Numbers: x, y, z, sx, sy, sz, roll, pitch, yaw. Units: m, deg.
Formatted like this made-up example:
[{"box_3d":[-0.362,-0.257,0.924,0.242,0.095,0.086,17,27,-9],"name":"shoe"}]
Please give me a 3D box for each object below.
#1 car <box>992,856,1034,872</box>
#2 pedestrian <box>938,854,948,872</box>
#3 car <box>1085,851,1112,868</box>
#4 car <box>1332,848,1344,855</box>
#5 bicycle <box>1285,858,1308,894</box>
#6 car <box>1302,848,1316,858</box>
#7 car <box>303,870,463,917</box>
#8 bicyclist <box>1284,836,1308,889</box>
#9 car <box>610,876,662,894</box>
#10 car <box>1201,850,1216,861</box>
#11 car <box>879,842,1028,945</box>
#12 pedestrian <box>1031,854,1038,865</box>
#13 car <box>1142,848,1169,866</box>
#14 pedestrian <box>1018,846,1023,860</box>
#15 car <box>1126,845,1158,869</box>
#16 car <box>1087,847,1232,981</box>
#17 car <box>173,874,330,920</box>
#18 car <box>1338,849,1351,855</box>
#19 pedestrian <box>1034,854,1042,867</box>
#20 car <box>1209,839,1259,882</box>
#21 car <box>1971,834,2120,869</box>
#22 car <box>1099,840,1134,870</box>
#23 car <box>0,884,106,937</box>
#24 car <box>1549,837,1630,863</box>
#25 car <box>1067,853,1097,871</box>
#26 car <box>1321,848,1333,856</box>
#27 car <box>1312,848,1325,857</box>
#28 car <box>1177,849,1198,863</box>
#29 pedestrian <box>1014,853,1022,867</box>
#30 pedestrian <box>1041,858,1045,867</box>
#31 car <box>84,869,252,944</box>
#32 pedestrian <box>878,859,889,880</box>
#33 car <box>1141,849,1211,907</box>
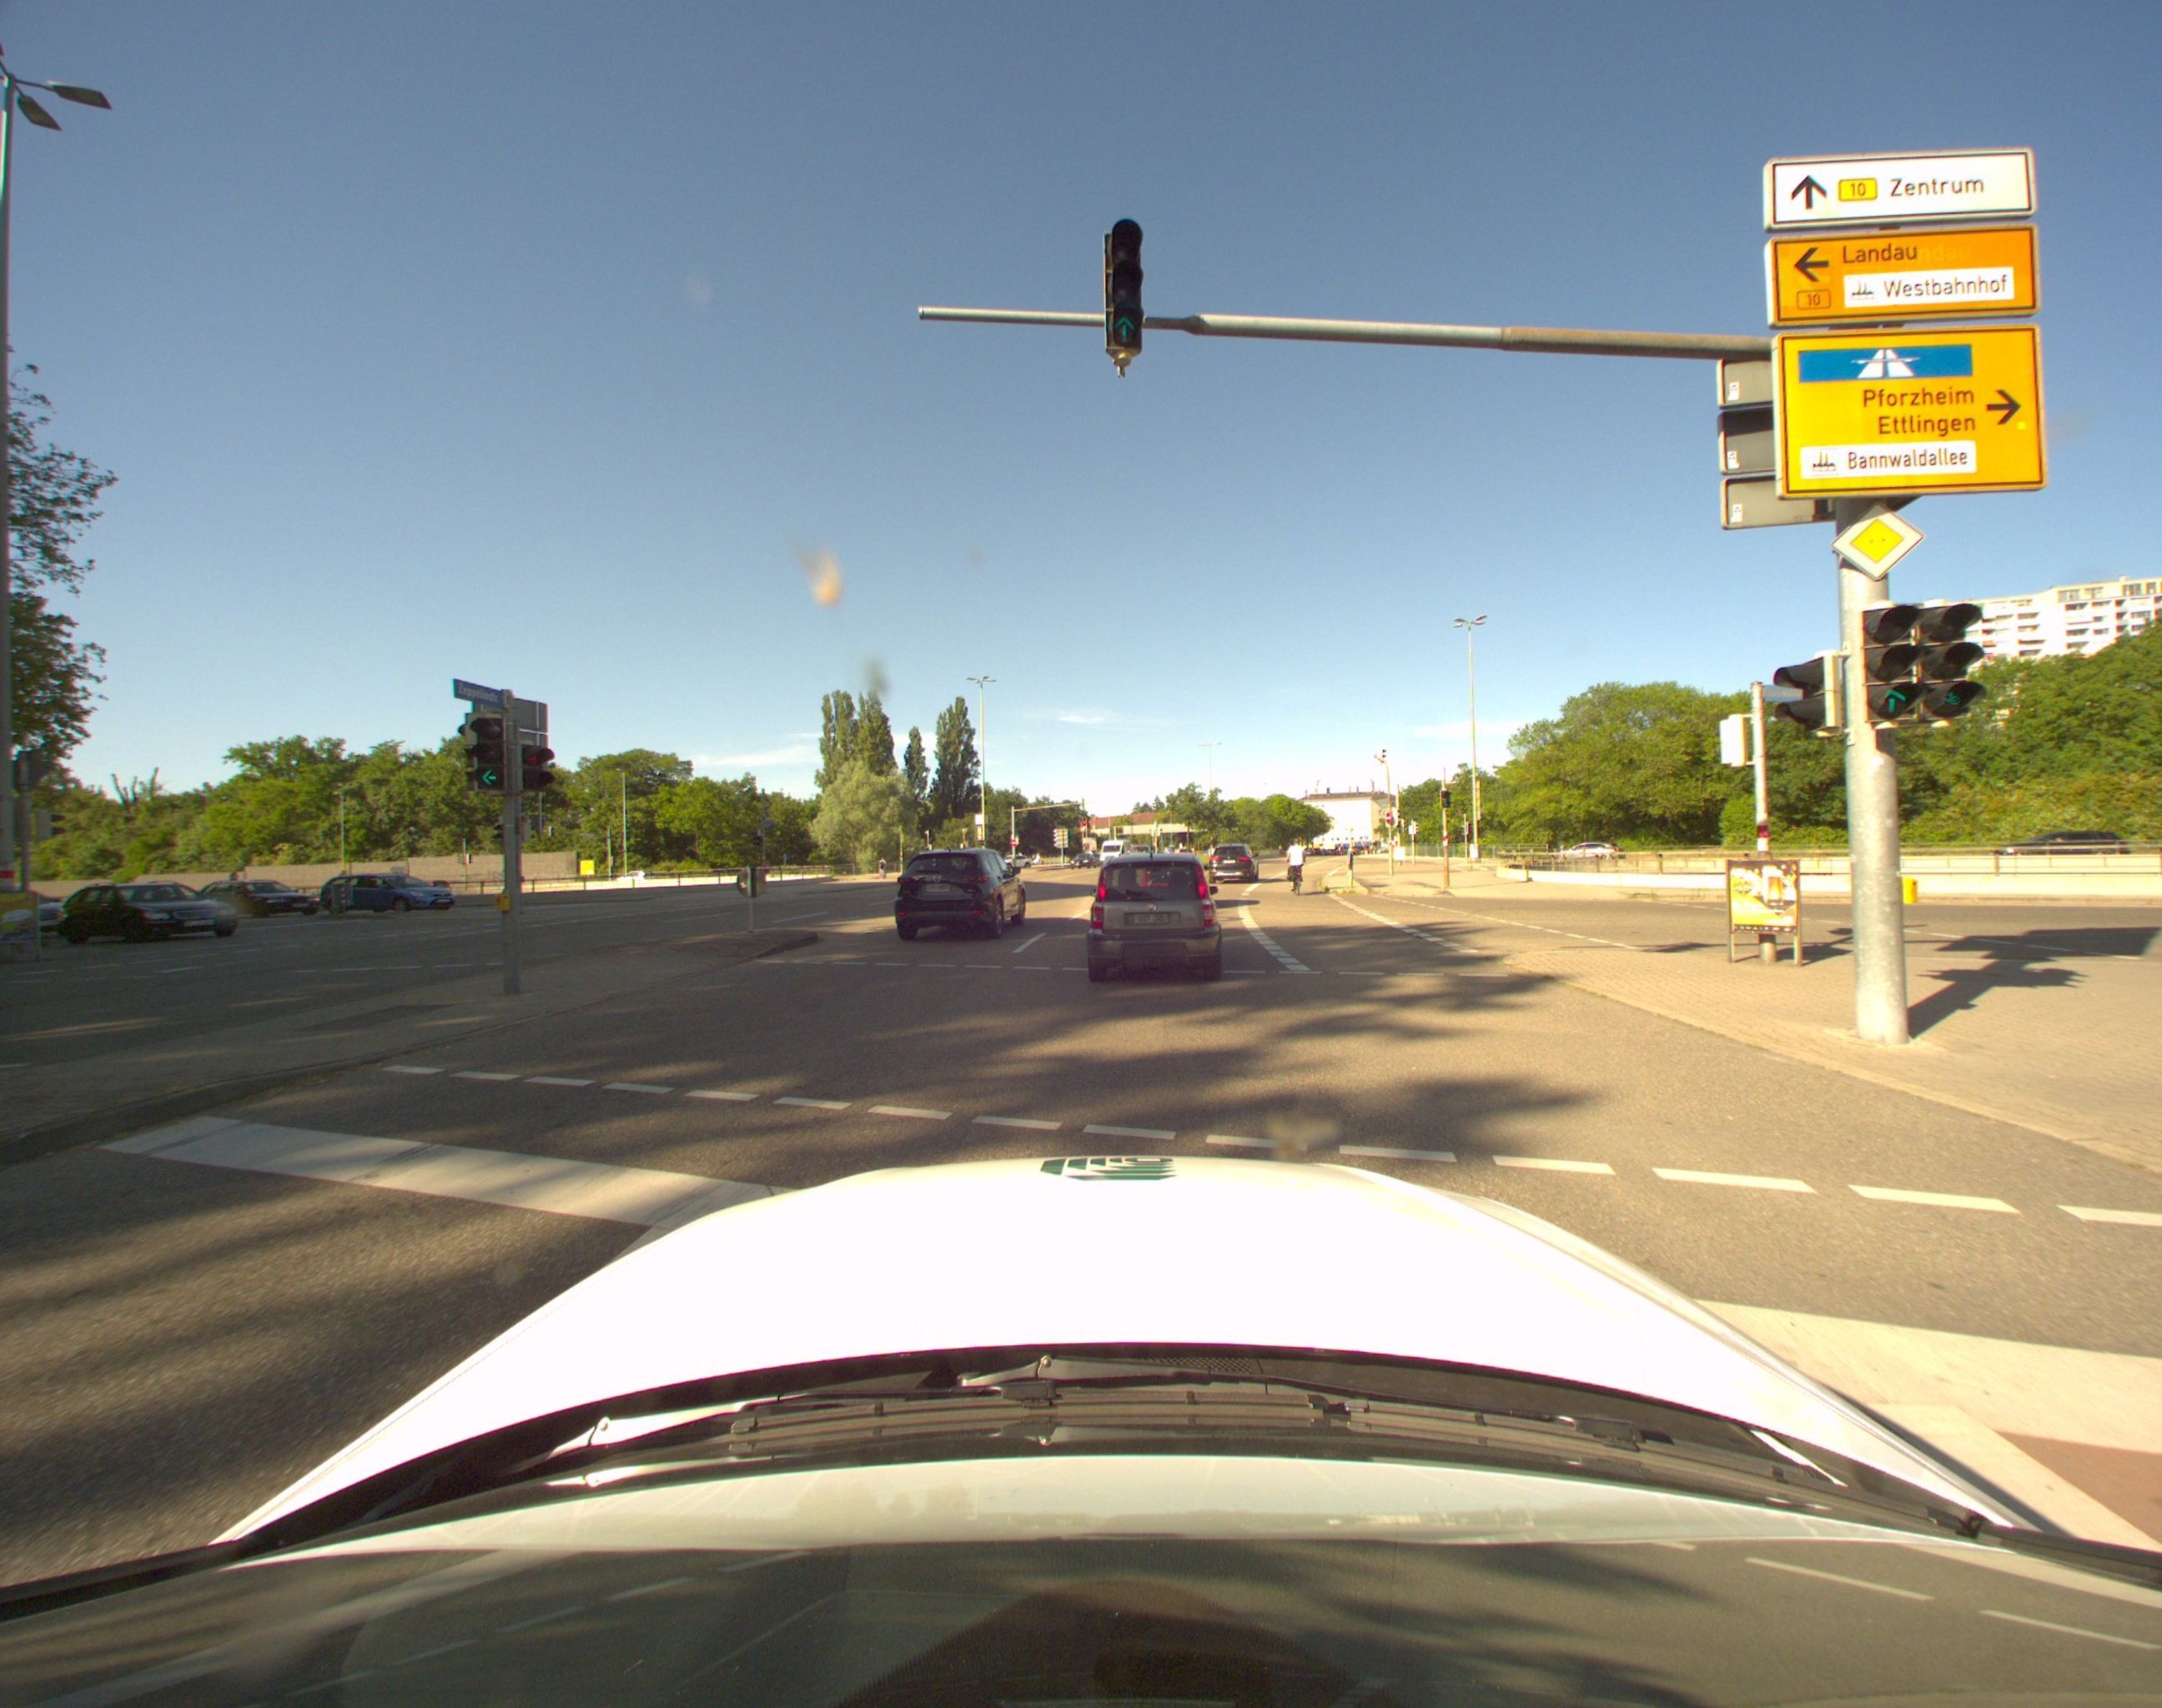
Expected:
[{"box_3d":[-7.085,1.011,84.803,1.762,1.535,4.355,0,1,42],"name":"car"},{"box_3d":[-12.164,0.831,71.738,0.712,1.547,0.723,-2,-1,-23],"name":"pedestrian"},{"box_3d":[1.815,0.555,82.259,1.798,1.541,4.633,-3,0,12],"name":"car"},{"box_3d":[63.499,-0.616,201.270,1.926,1.528,4.123,-2,0,30],"name":"car"},{"box_3d":[6.981,0.699,26.444,0.686,1.102,1.833,-1,0,14],"name":"bicycle"},{"box_3d":[38.175,-0.189,136.257,1.928,1.528,4.119,-2,0,21],"name":"car"},{"box_3d":[-25.900,1.449,30.299,4.420,1.540,1.955,-2,0,6],"name":"car"},{"box_3d":[6.980,0.273,26.440,0.719,1.659,1.117,-1,0,14],"name":"bicyclist"},{"box_3d":[-41.973,2.941,76.787,3.957,1.508,2.008,-2,0,15],"name":"car"},{"box_3d":[20.585,0.192,131.111,1.922,1.622,4.524,-2,0,15],"name":"car"},{"box_3d":[-2.315,0.680,15.936,1.865,1.709,4.202,-2,0,5],"name":"car"},{"box_3d":[-6.128,0.735,107.394,0.664,1.503,0.784,-1,-2,33],"name":"pedestrian"},{"box_3d":[7.082,0.272,77.081,1.923,1.622,4.522,-2,0,14],"name":"car"},{"box_3d":[-7.465,-0.180,100.112,0.494,1.702,0.502,-1,-2,18],"name":"pedestrian"},{"box_3d":[5.347,0.243,71.131,1.923,2.008,4.950,-2,0,14],"name":"car"},{"box_3d":[1.070,0.682,11.136,1.609,1.515,3.825,-1,0,5],"name":"car"},{"box_3d":[-31.625,1.620,31.097,4.417,1.540,1.957,-2,0,9],"name":"car"},{"box_3d":[69.708,-0.637,215.437,1.926,1.528,4.124,-2,0,35],"name":"car"},{"box_3d":[-5.558,0.808,105.303,0.714,1.641,0.675,-1,-2,18],"name":"pedestrian"},{"box_3d":[6.997,0.266,36.971,1.931,1.840,4.169,0,0,15],"name":"car"},{"box_3d":[49.876,-0.118,42.264,4.618,1.616,1.873,-2,0,30],"name":"car"},{"box_3d":[3.294,0.088,74.325,1.923,2.576,6.111,-2,0,14],"name":"car"},{"box_3d":[-30.656,1.604,23.355,4.458,1.358,1.889,-2,0,18],"name":"car"},{"box_3d":[33.109,-0.273,53.096,4.191,1.552,1.873,-2,0,42],"name":"car"},{"box_3d":[0.111,0.711,75.228,1.924,1.507,4.012,-3,0,11],"name":"car"},{"box_3d":[50.627,-0.376,167.422,1.928,1.528,4.119,-2,0,22],"name":"car"},{"box_3d":[43.846,-0.301,150.470,1.928,1.528,4.119,-2,0,22],"name":"car"},{"box_3d":[13.201,0.245,100.965,1.922,1.622,4.524,-2,0,15],"name":"car"},{"box_3d":[-7.708,0.705,99.985,0.782,1.664,0.633,-1,-2,25],"name":"pedestrian"},{"box_3d":[-4.901,1.079,105.237,0.420,1.136,0.399,-1,-2,18],"name":"pedestrian"},{"box_3d":[-22.843,1.248,20.339,4.723,1.621,1.964,-2,0,32],"name":"car"},{"box_3d":[-13.707,1.065,56.542,0.680,1.463,0.700,-1,0,-13],"name":"pedestrian"},{"box_3d":[2.692,0.597,22.476,1.607,1.463,3.762,-1,0,11],"name":"car"}]
